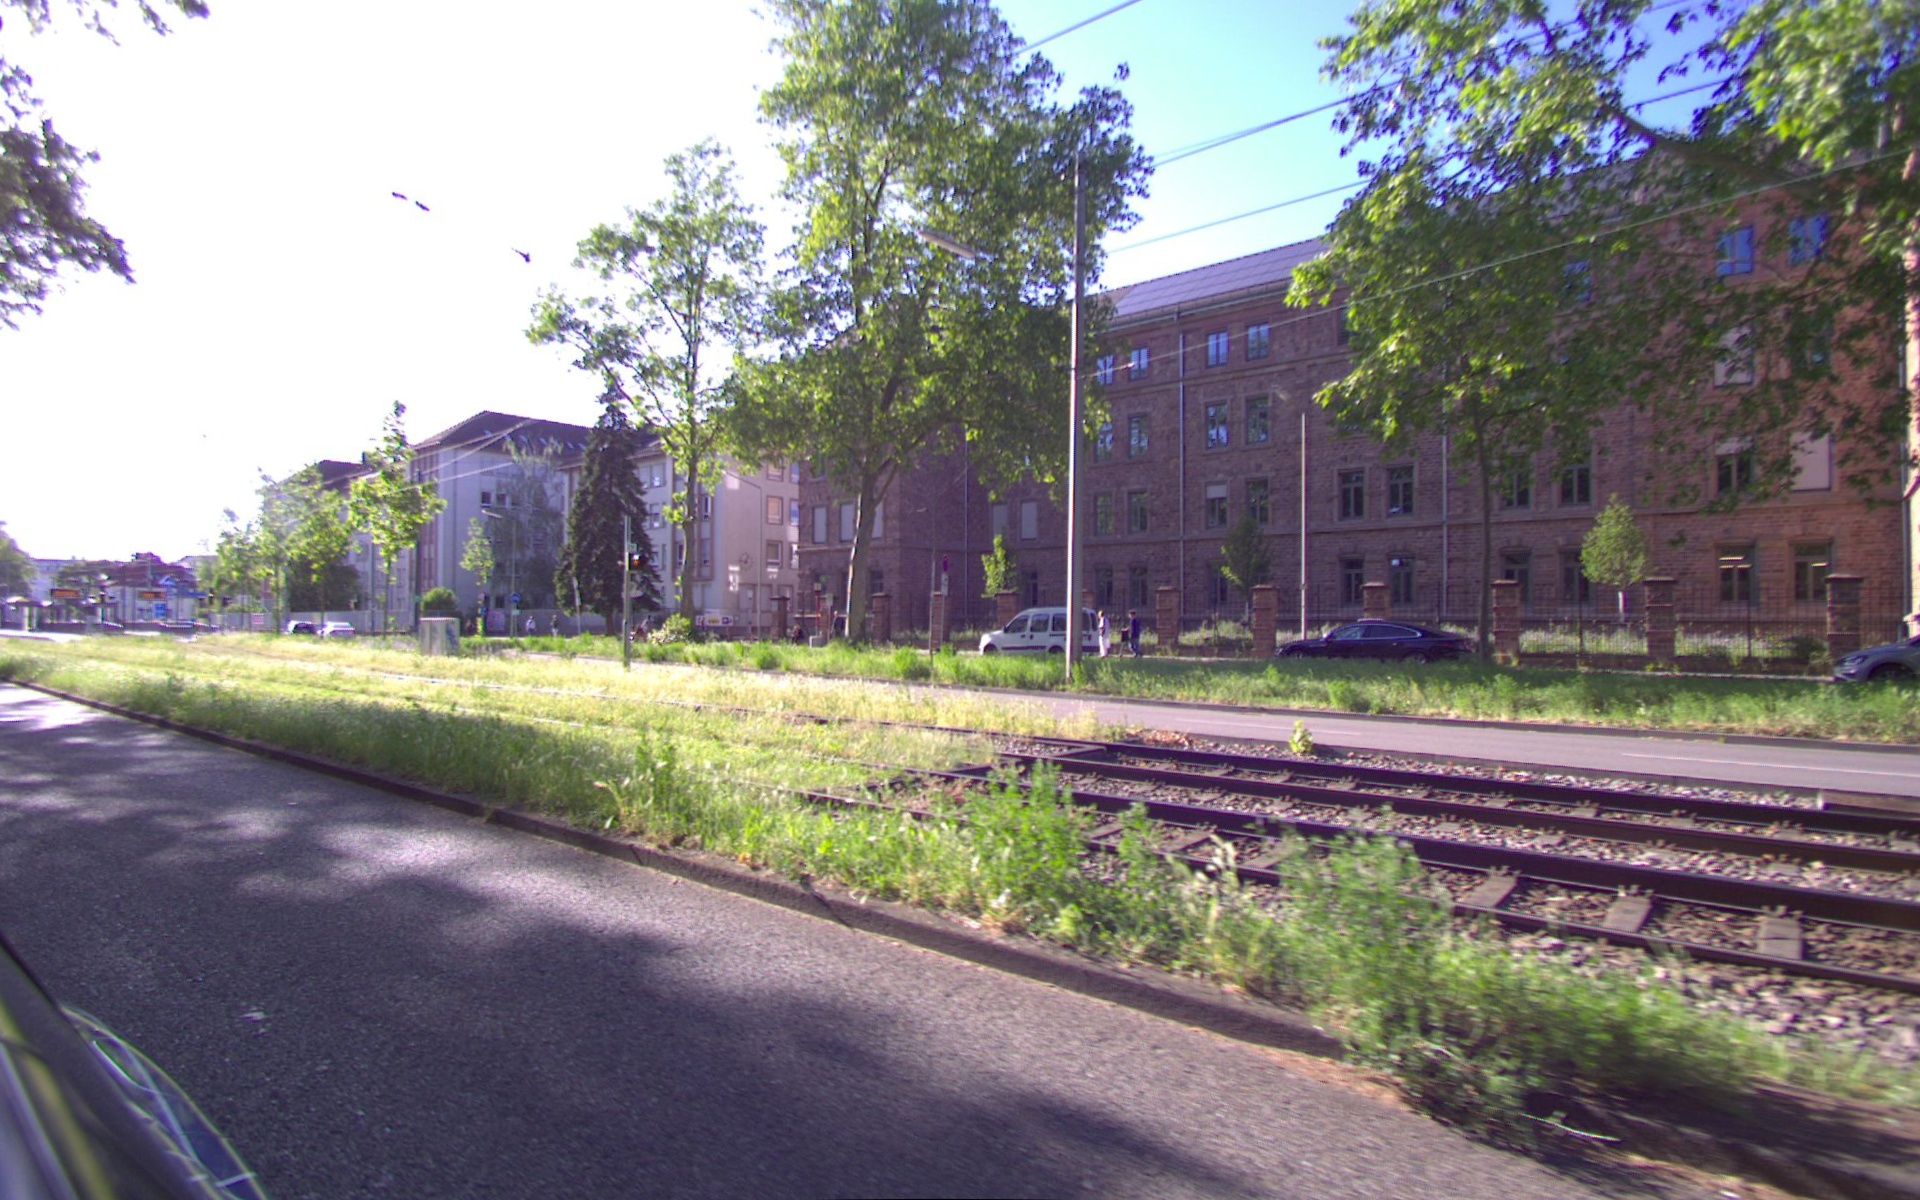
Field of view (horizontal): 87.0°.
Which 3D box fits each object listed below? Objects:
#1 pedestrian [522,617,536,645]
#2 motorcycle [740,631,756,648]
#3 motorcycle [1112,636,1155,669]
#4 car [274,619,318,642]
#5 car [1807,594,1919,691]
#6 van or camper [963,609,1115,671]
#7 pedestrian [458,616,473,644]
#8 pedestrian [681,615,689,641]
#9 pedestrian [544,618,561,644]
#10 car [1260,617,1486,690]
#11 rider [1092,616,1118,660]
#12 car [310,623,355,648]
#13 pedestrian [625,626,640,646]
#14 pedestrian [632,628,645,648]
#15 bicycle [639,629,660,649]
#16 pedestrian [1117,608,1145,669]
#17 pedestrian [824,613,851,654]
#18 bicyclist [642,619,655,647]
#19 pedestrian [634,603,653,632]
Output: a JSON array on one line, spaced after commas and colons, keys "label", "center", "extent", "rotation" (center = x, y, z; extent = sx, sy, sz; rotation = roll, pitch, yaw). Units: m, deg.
[{"label": "pedestrian", "center": [-28.640, 2.070, 67.265], "extent": [0.572, 1.851, 0.686], "rotation": [-2, -2, 40]}, {"label": "motorcycle", "center": [-12.088, 2.228, 57.715], "extent": [1.043, 0.953, 0.331], "rotation": [-1, -2, 37]}, {"label": "motorcycle", "center": [5.811, 1.740, 33.923], "extent": [1.293, 1.061, 0.577], "rotation": [-1, -2, 41]}, {"label": "car", "center": [-50.495, 2.296, 76.931], "extent": [4.150, 1.720, 1.971], "rotation": [-2, -2, 44]}, {"label": "car", "center": [18.257, 0.756, 18.247], "extent": [4.422, 1.732, 1.748], "rotation": [-2, -2, 45]}, {"label": "van or camper", "center": [2.442, 1.243, 31.870], "extent": [4.427, 1.801, 1.974], "rotation": [-1, -3, 39]}, {"label": "pedestrian", "center": [-35.730, 2.156, 73.177], "extent": [0.860, 2.029, 0.656], "rotation": [-2, -2, 40]}, {"label": "pedestrian", "center": [-17.893, 1.824, 65.849], "extent": [0.371, 1.708, 0.449], "rotation": [1, -2, -43]}, {"label": "pedestrian", "center": [-27.051, 2.083, 67.115], "extent": [0.819, 1.708, 0.677], "rotation": [-1, -2, 22]}, {"label": "car", "center": [10.189, 1.290, 25.186], "extent": [4.824, 1.662, 1.972], "rotation": [-2, -3, 41]}, {"label": "rider", "center": [5.468, 1.439, 38.208], "extent": [0.686, 1.657, 0.721], "rotation": [-2, -2, 41]}, {"label": "car", "center": [-43.020, 2.417, 69.315], "extent": [1.744, 1.635, 4.479], "rotation": [1, -2, -43]}, {"label": "pedestrian", "center": [-17.867, 1.972, 55.222], "extent": [0.478, 1.108, 0.580], "rotation": [-2, -2, 39]}, {"label": "pedestrian", "center": [-17.424, 2.058, 54.876], "extent": [0.586, 1.108, 0.439], "rotation": [-2, -2, 36]}, {"label": "bicycle", "center": [-16.670, 2.080, 54.335], "extent": [1.172, 1.076, 0.458], "rotation": [-1, -2, 31]}, {"label": "pedestrian", "center": [5.741, 1.286, 33.962], "extent": [0.710, 2.029, 0.579], "rotation": [-1, -2, 40]}, {"label": "pedestrian", "center": [-5.845, 1.602, 48.236], "extent": [0.941, 1.914, 0.891], "rotation": [-2, -2, 42]}, {"label": "bicyclist", "center": [-16.724, 1.775, 54.376], "extent": [0.501, 1.510, 0.450], "rotation": [-1, -2, 31]}, {"label": "pedestrian", "center": [-19.199, 1.073, 61.410], "extent": [0.875, 1.708, 0.679], "rotation": [-1, -2, 13]}]
